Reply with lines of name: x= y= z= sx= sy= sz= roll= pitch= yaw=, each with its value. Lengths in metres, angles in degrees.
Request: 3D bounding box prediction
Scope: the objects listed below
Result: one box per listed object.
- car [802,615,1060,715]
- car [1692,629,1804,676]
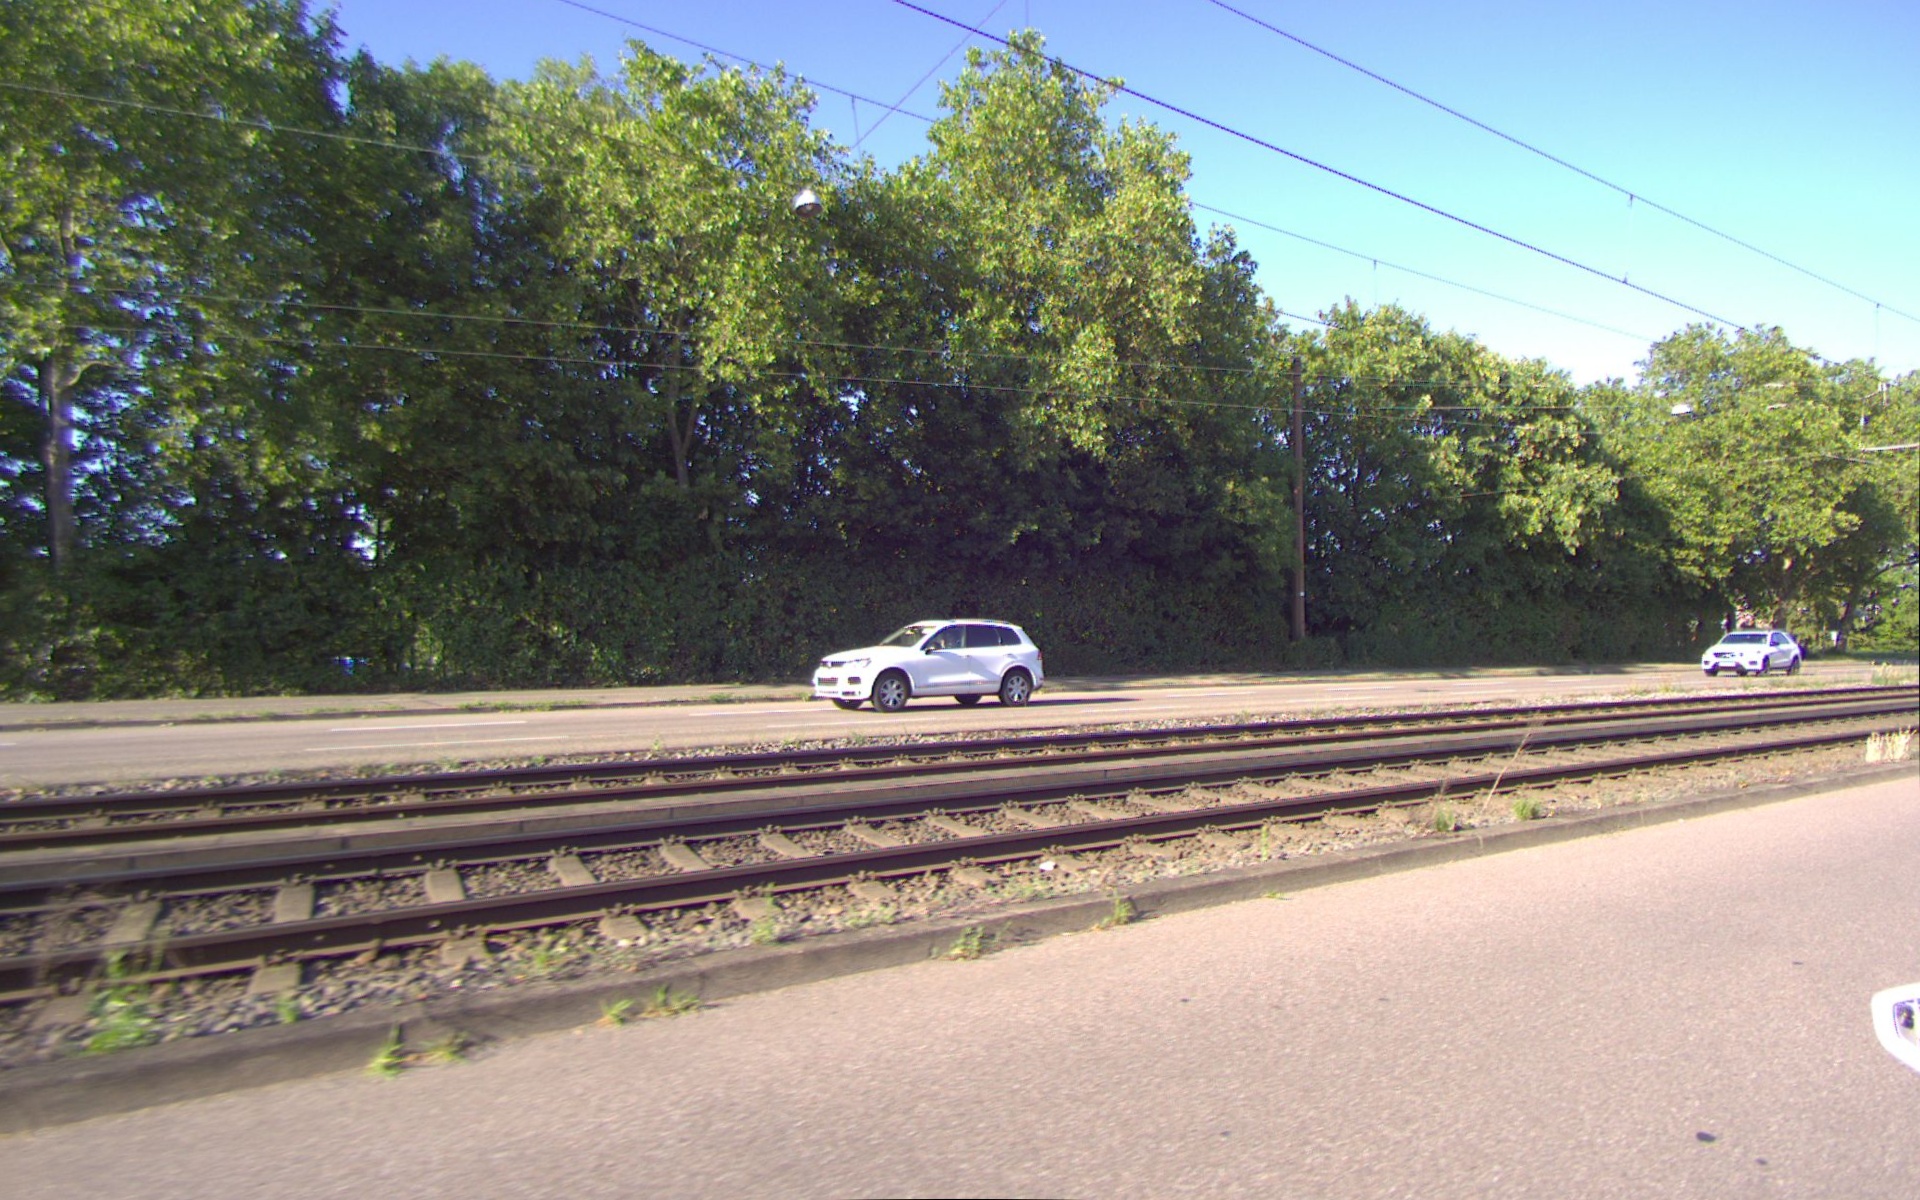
car: x=-0.495 y=1.263 z=19.754 sx=4.881 sy=1.756 sz=1.835 roll=2 pitch=-4 yaw=-34
car: x=30.621 y=2.060 z=39.002 sx=4.892 sy=1.729 sz=1.951 roll=2 pitch=-4 yaw=-34
